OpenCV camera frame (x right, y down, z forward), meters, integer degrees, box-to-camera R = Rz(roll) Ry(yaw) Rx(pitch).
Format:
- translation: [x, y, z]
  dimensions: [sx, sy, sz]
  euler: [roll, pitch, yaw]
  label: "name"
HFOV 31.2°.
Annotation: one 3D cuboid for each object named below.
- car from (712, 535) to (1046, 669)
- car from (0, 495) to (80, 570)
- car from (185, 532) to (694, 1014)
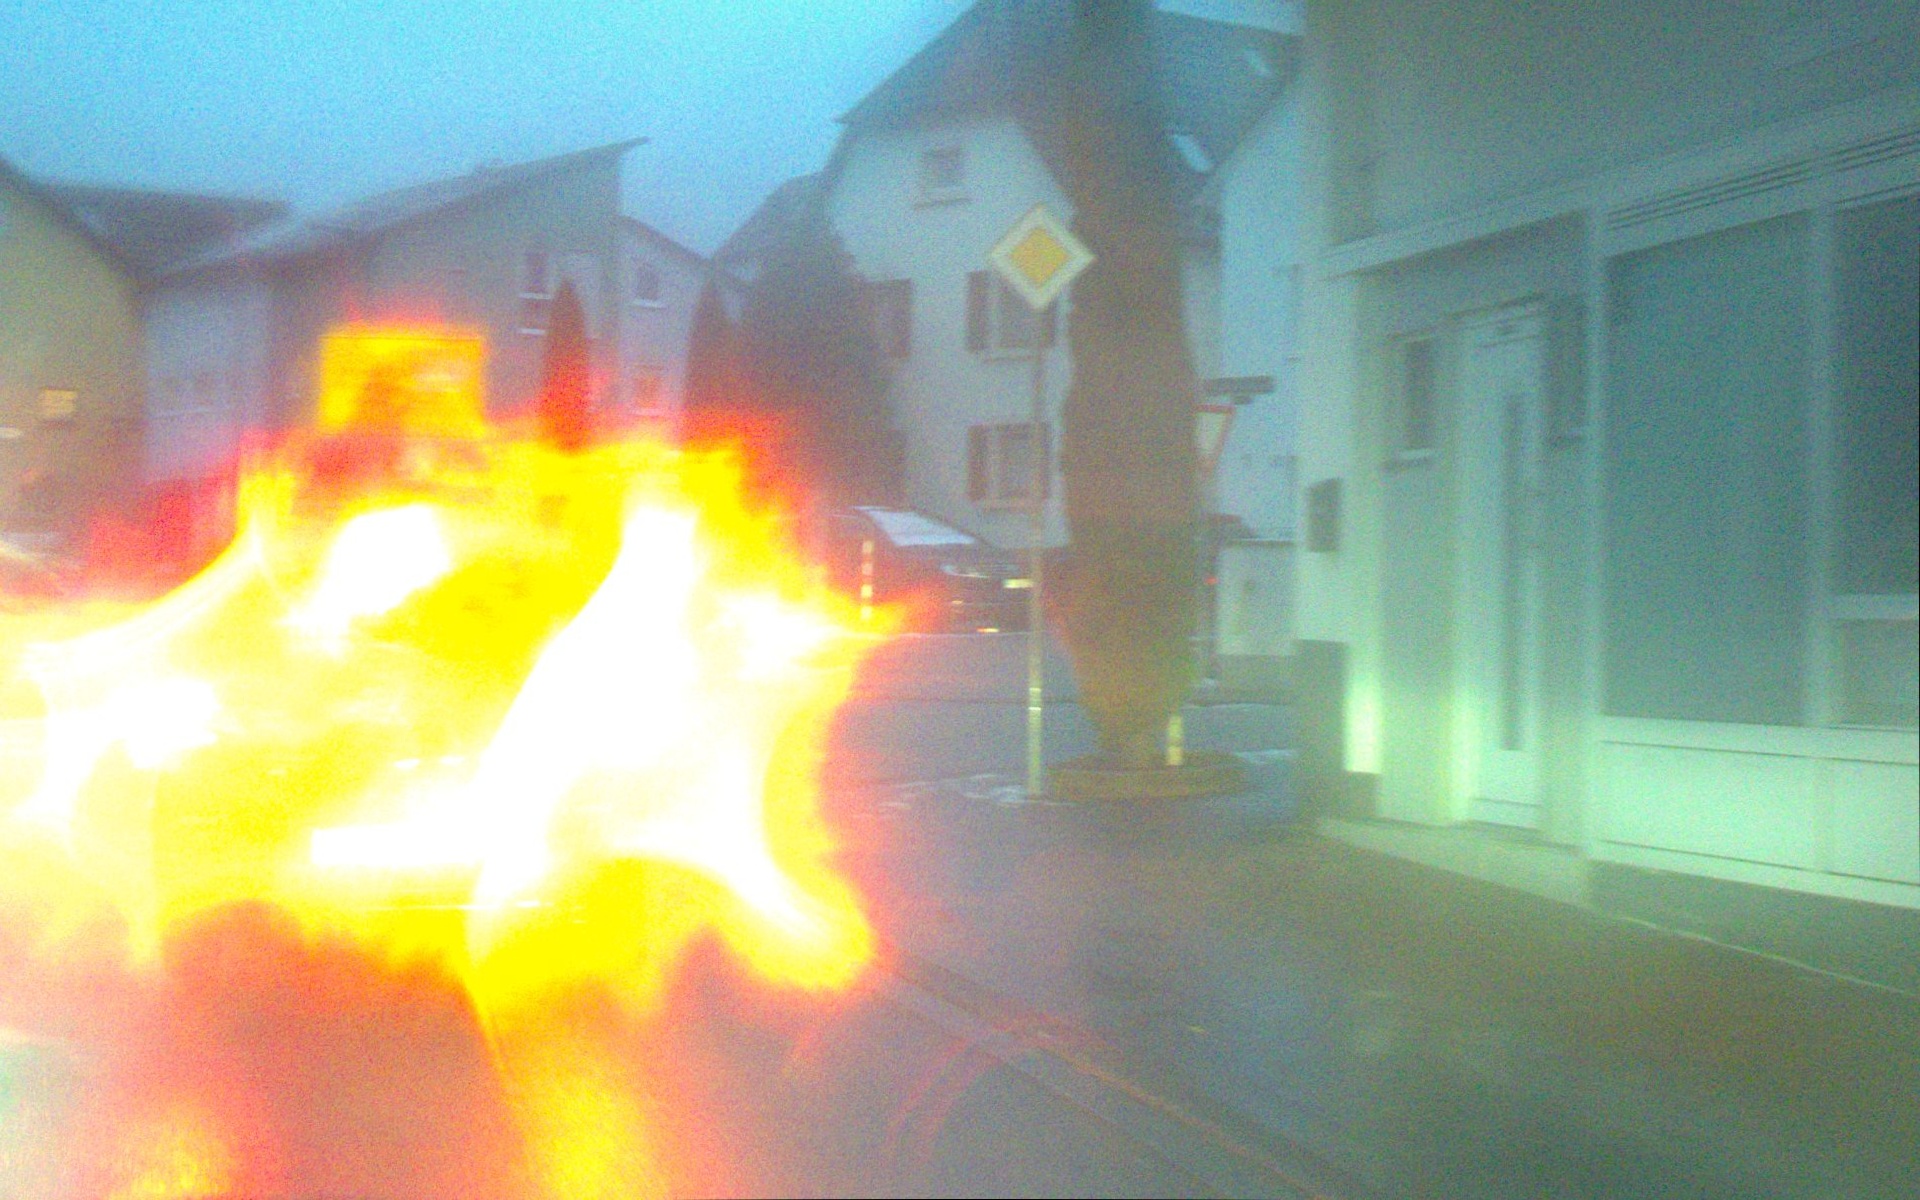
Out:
- translation: [-1.119, -0.012, 45.331]
  dimensions: [1.810, 1.623, 4.549]
  euler: [-3, 3, -43]
  label: "car"
- translation: [-21.859, -1.588, 79.547]
  dimensions: [1.993, 1.638, 4.001]
  euler: [1, 2, -28]
  label: "car"
- translation: [-1.919, 0.503, 12.486]
  dimensions: [1.545, 1.461, 3.700]
  euler: [1, 1, -10]
  label: "car"
